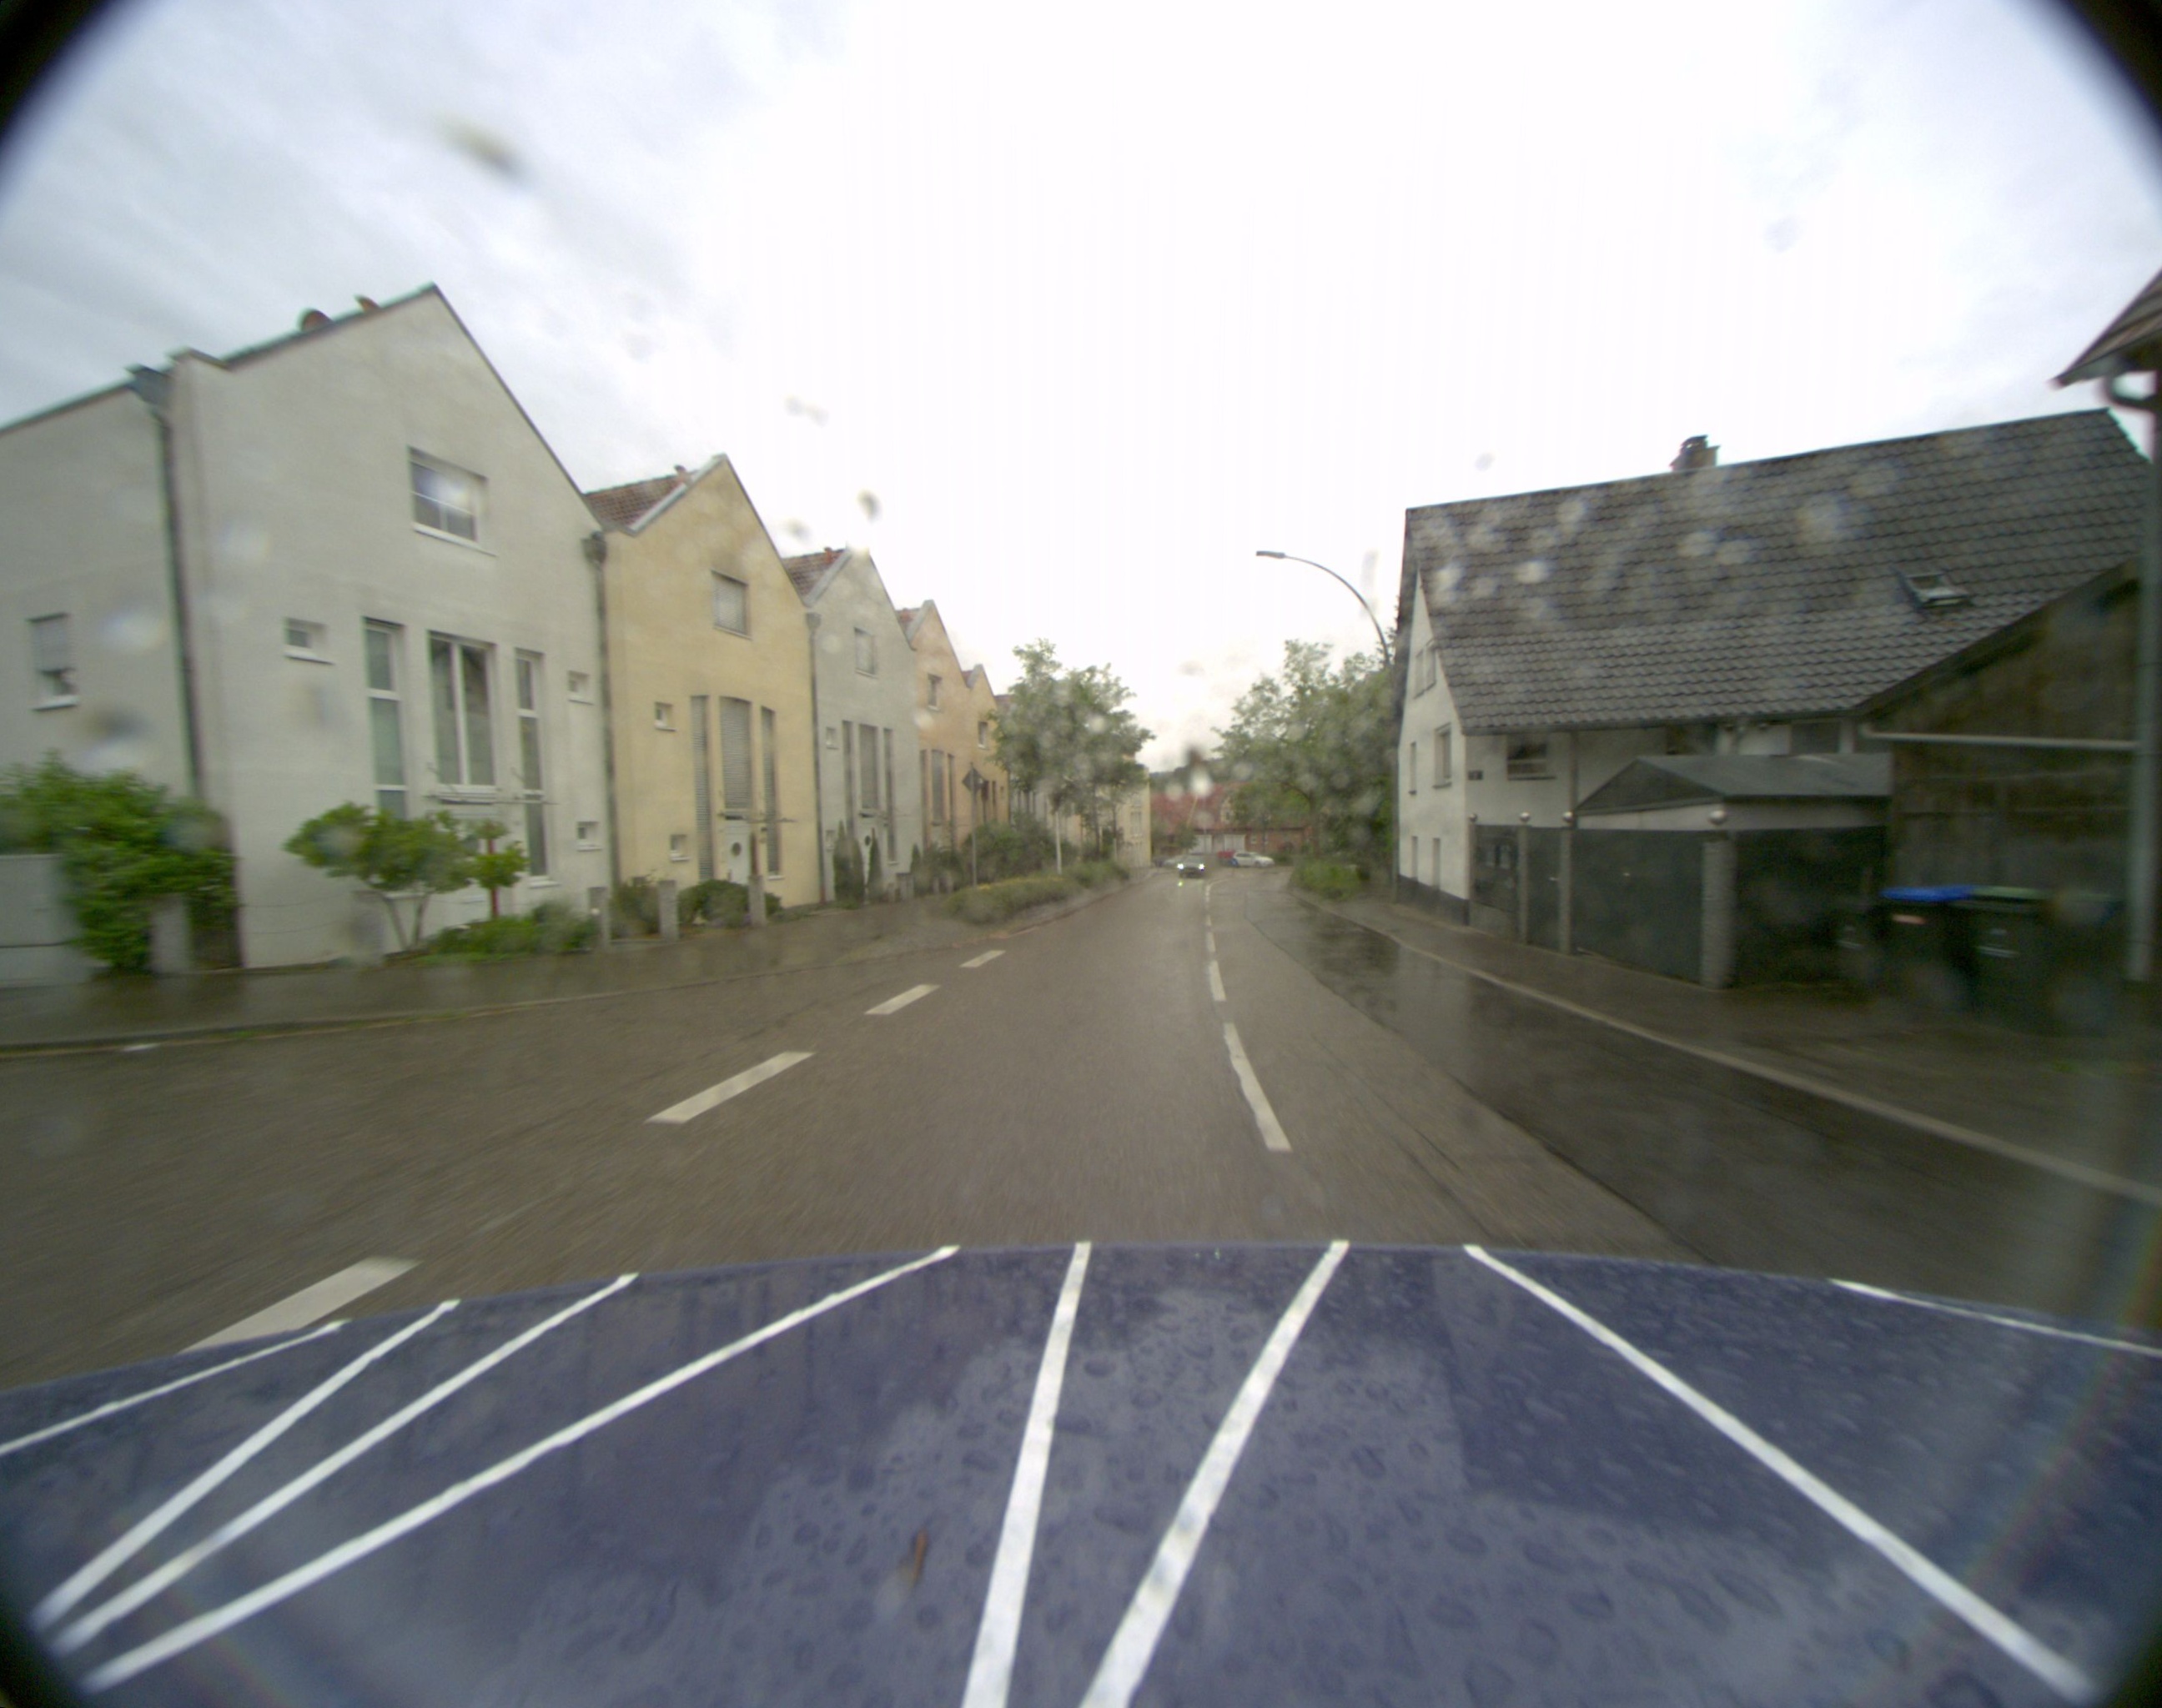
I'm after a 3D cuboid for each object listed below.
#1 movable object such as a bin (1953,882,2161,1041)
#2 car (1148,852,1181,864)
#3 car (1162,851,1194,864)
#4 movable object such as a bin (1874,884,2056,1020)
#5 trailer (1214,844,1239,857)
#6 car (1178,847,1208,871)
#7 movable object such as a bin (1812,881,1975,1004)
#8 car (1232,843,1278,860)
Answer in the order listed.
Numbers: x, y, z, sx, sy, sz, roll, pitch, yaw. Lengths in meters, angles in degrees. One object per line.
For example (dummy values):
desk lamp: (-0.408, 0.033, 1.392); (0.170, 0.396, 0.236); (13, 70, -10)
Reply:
movable object such as a bin: (7.406, 0.782, 5.723); (0.899, 1.072, 0.651); (-2, 2, 5)
car: (10.443, 0.489, 94.676); (4.008, 1.368, 1.875); (-2, 1, -43)
car: (11.834, 0.382, 92.581); (4.007, 1.382, 1.619); (-3, 2, -44)
movable object such as a bin: (7.456, 0.808, 6.446); (0.819, 1.055, 0.596); (-2, 2, 5)
trailer: (18.342, -0.405, 95.500); (2.717, 1.640, 1.415); (0, 1, 38)
car: (8.029, 0.334, 54.212); (1.997, 1.521, 4.002); (-1, 1, 10)
movable object such as a bin: (7.519, 0.801, 7.065); (0.837, 1.053, 0.611); (-2, 2, 5)
car: (16.673, -0.246, 72.956); (1.761, 1.527, 4.138); (-3, 2, -38)
